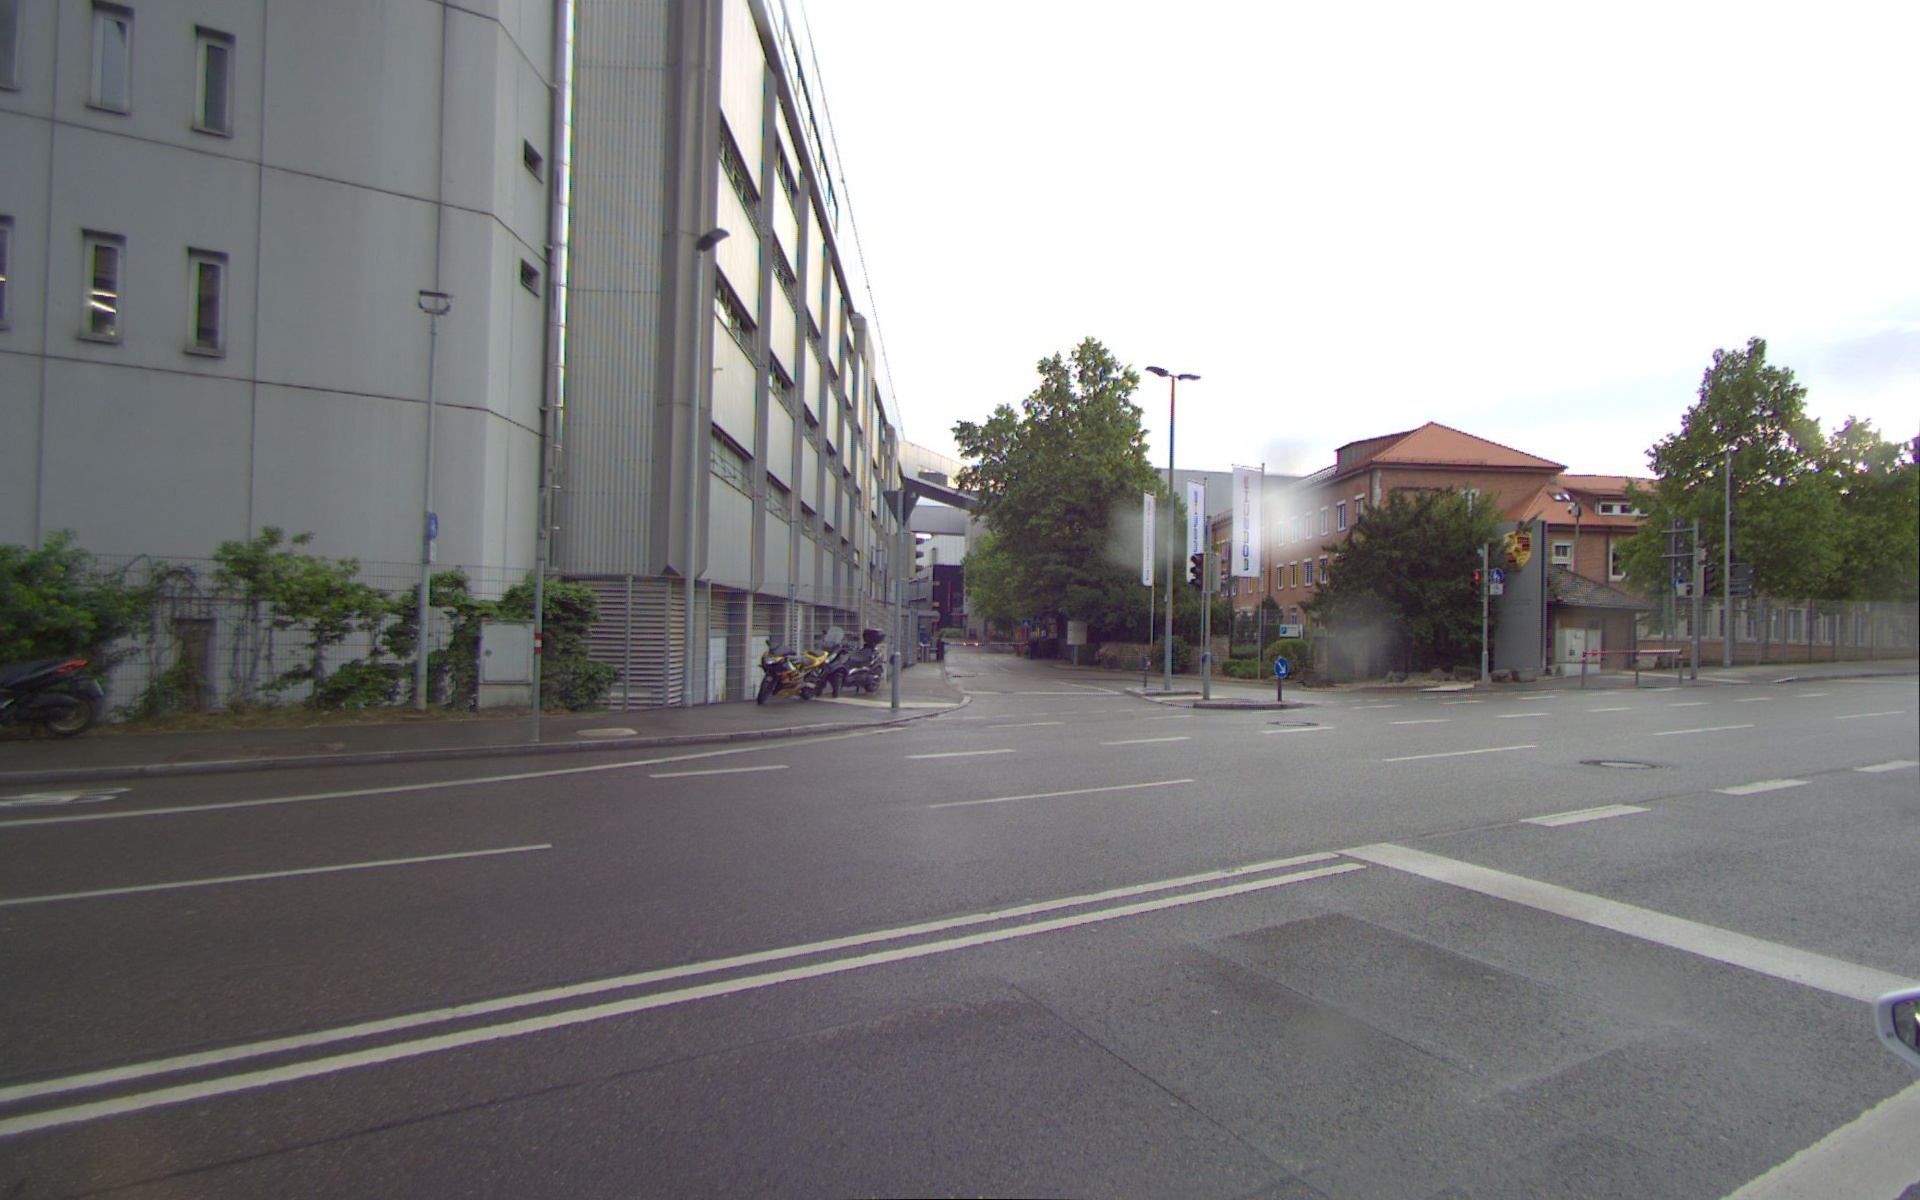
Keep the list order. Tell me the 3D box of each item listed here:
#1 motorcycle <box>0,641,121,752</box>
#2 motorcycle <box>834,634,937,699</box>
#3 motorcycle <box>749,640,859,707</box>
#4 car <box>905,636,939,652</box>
[{"bbox_3d":[-11.356,1.122,11.826,2.133,1.263,0.780,2,-2,-32],"label":"motorcycle"},{"bbox_3d":[-1.613,1.451,22.530,1.008,1.355,2.772,-1,-2,27],"label":"motorcycle"},{"bbox_3d":[-3.066,1.429,20.092,0.759,1.234,2.504,0,-2,30],"label":"motorcycle"},{"bbox_3d":[-4.997,5.759,130.822,3.914,1.849,1.955,2,0,-31],"label":"car"}]
